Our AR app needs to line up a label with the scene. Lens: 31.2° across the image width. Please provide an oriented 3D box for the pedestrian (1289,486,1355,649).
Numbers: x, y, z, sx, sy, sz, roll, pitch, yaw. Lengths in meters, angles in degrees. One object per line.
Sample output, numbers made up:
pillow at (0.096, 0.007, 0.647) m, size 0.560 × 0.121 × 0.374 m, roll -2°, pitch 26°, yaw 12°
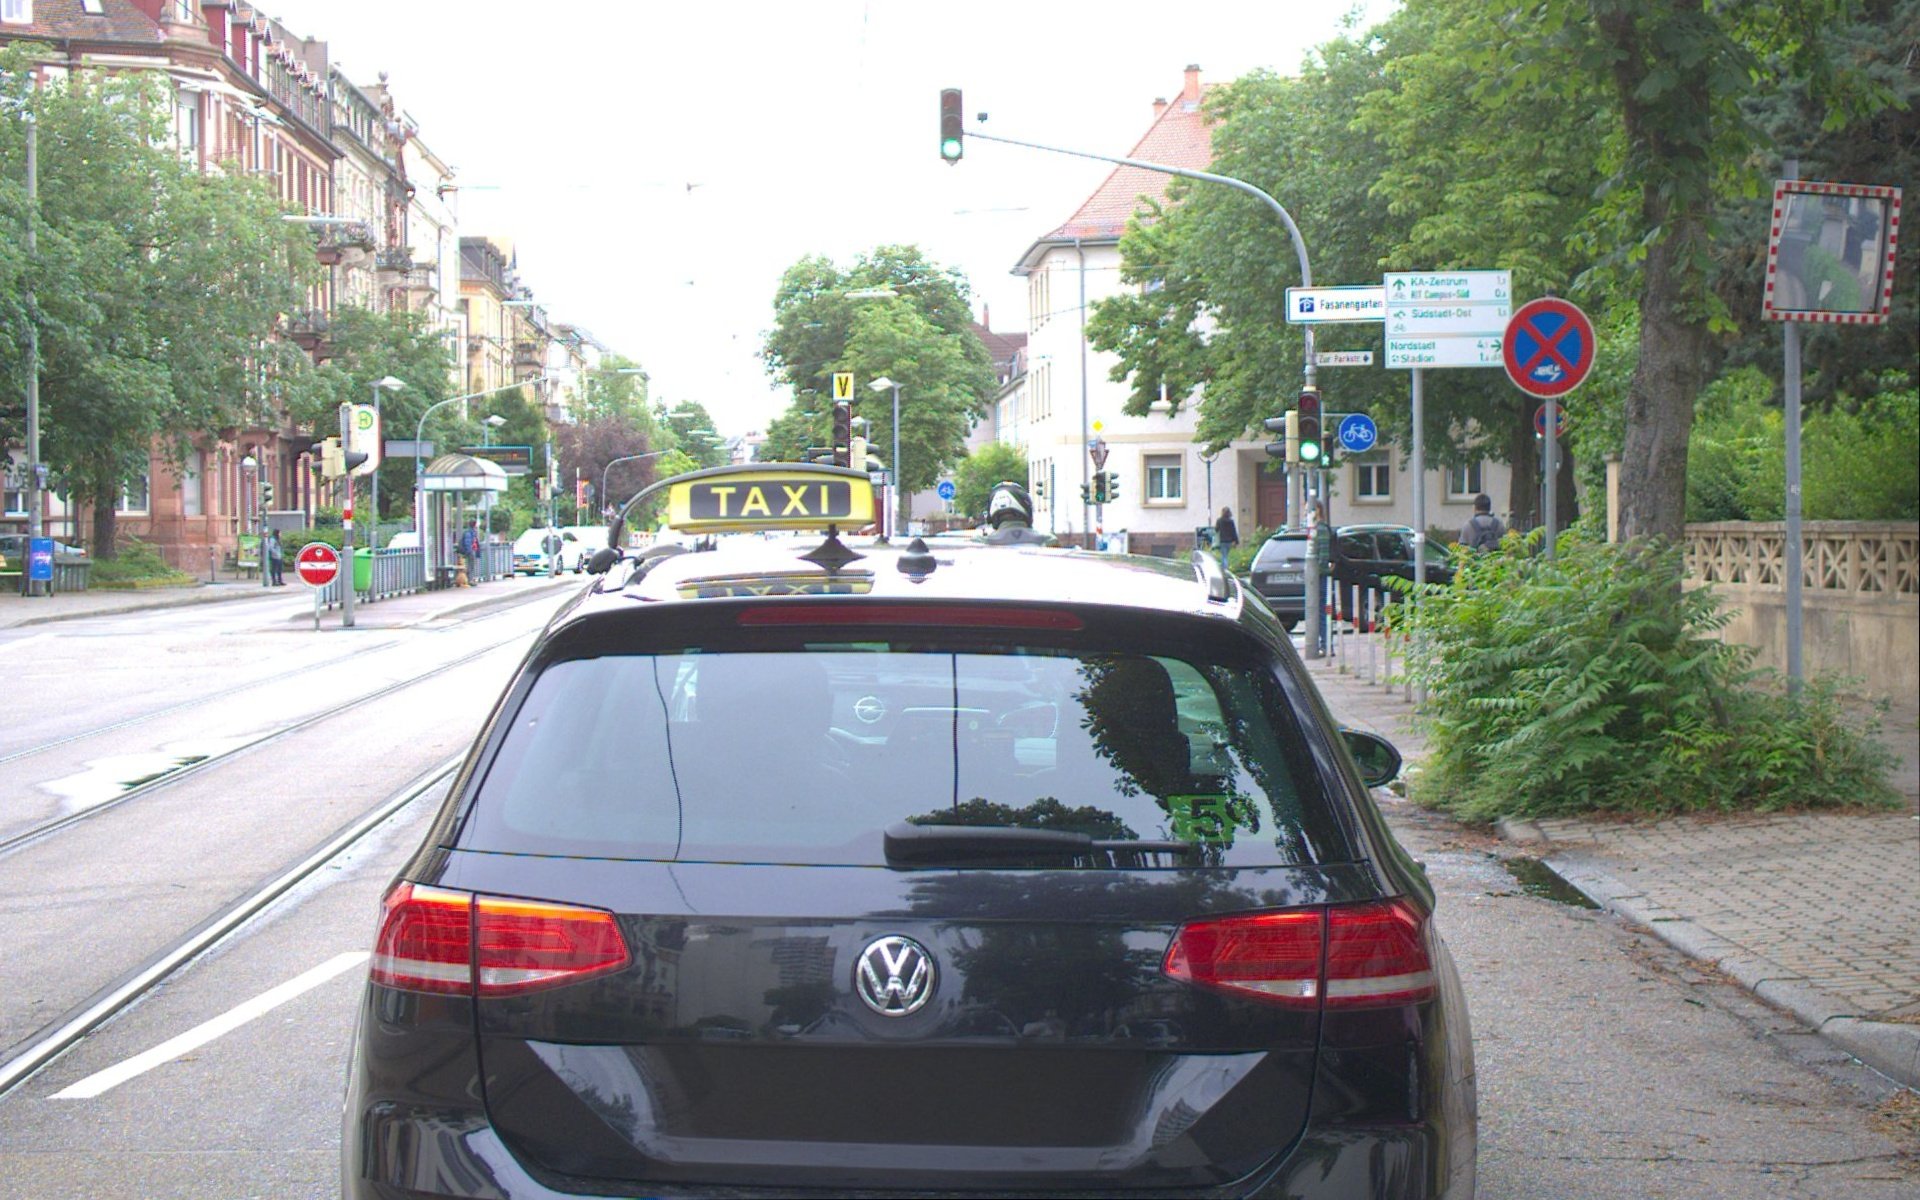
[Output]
pedestrian at (4.177, -0.380, 39.653) m, size 0.585 × 1.824 × 0.604 m, roll -3°, pitch 1°, yaw -1°

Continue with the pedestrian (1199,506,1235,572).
pedestrian at (6.119, -1.454, 81.798) m, size 0.608 × 1.548 × 0.583 m, roll -1°, pitch 1°, yaw -41°

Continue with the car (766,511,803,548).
car at (-9.817, -3.948, 192.564) m, size 2.032 × 2.007 × 4.000 m, roll 1°, pitch 1°, yaw -2°

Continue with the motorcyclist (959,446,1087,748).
motorcyclist at (0.362, -0.026, 19.701) m, size 0.703 × 1.686 × 0.804 m, roll -1°, pitch 1°, yaw 1°

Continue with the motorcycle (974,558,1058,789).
motorcycle at (0.318, 0.391, 19.694) m, size 0.446 × 1.231 × 1.907 m, roll -1°, pitch 1°, yaw 1°

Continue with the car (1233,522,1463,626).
car at (5.669, -0.405, 49.835) m, size 1.895 × 1.403 × 3.994 m, roll 0°, pitch 2°, yaw 29°

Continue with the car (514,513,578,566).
car at (-13.044, -1.928, 108.488) m, size 1.721 × 1.617 × 3.864 m, roll -1°, pitch 1°, yaw -3°

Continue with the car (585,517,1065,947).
car at (-0.564, 0.428, 14.361) m, size 1.723 × 1.541 × 4.001 m, roll 0°, pitch 1°, yaw -2°

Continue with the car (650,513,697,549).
car at (-13.138, -3.181, 157.728) m, size 1.795 × 1.590 × 4.000 m, roll -1°, pitch 1°, yaw 0°

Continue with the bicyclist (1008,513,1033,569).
bicyclist at (1.705, -1.655, 96.669) m, size 0.651 × 1.563 × 0.695 m, roll -1°, pitch 1°, yaw 5°

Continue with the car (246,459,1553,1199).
car at (-0.155, 0.538, 6.544) m, size 1.723 × 1.541 × 4.001 m, roll 0°, pitch 1°, yaw -2°

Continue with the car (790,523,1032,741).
car at (-0.430, 0.183, 26.471) m, size 1.723 × 1.541 × 4.001 m, roll 0°, pitch 1°, yaw -2°

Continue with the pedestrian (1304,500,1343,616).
pedestrian at (5.825, -0.684, 55.113) m, size 0.514 × 1.824 × 0.418 m, roll -3°, pitch 1°, yaw 8°

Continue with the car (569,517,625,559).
car at (-12.882, -2.207, 122.130) m, size 1.721 × 1.459 × 3.864 m, roll -1°, pitch 1°, yaw -3°

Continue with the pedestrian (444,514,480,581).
pedestrian at (-11.283, -1.195, 77.941) m, size 0.714 × 1.515 × 0.590 m, roll 0°, pitch 1°, yaw -1°

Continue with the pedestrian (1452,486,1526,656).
pedestrian at (5.704, -0.317, 37.106) m, size 0.632 × 1.808 × 0.726 m, roll -1°, pitch 1°, yaw -5°

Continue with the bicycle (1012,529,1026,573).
bicycle at (1.663, -1.389, 96.665) m, size 0.297 × 1.219 × 1.430 m, roll -1°, pitch 1°, yaw 5°

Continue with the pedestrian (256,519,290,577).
pedestrian at (-18.308, -1.386, 91.678) m, size 0.589 × 1.515 × 0.648 m, roll 0°, pitch 1°, yaw 33°

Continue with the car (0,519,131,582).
car at (-24.231, -1.317, 90.974) m, size 3.989 × 1.590 × 1.999 m, roll -2°, pitch 2°, yaw -42°
